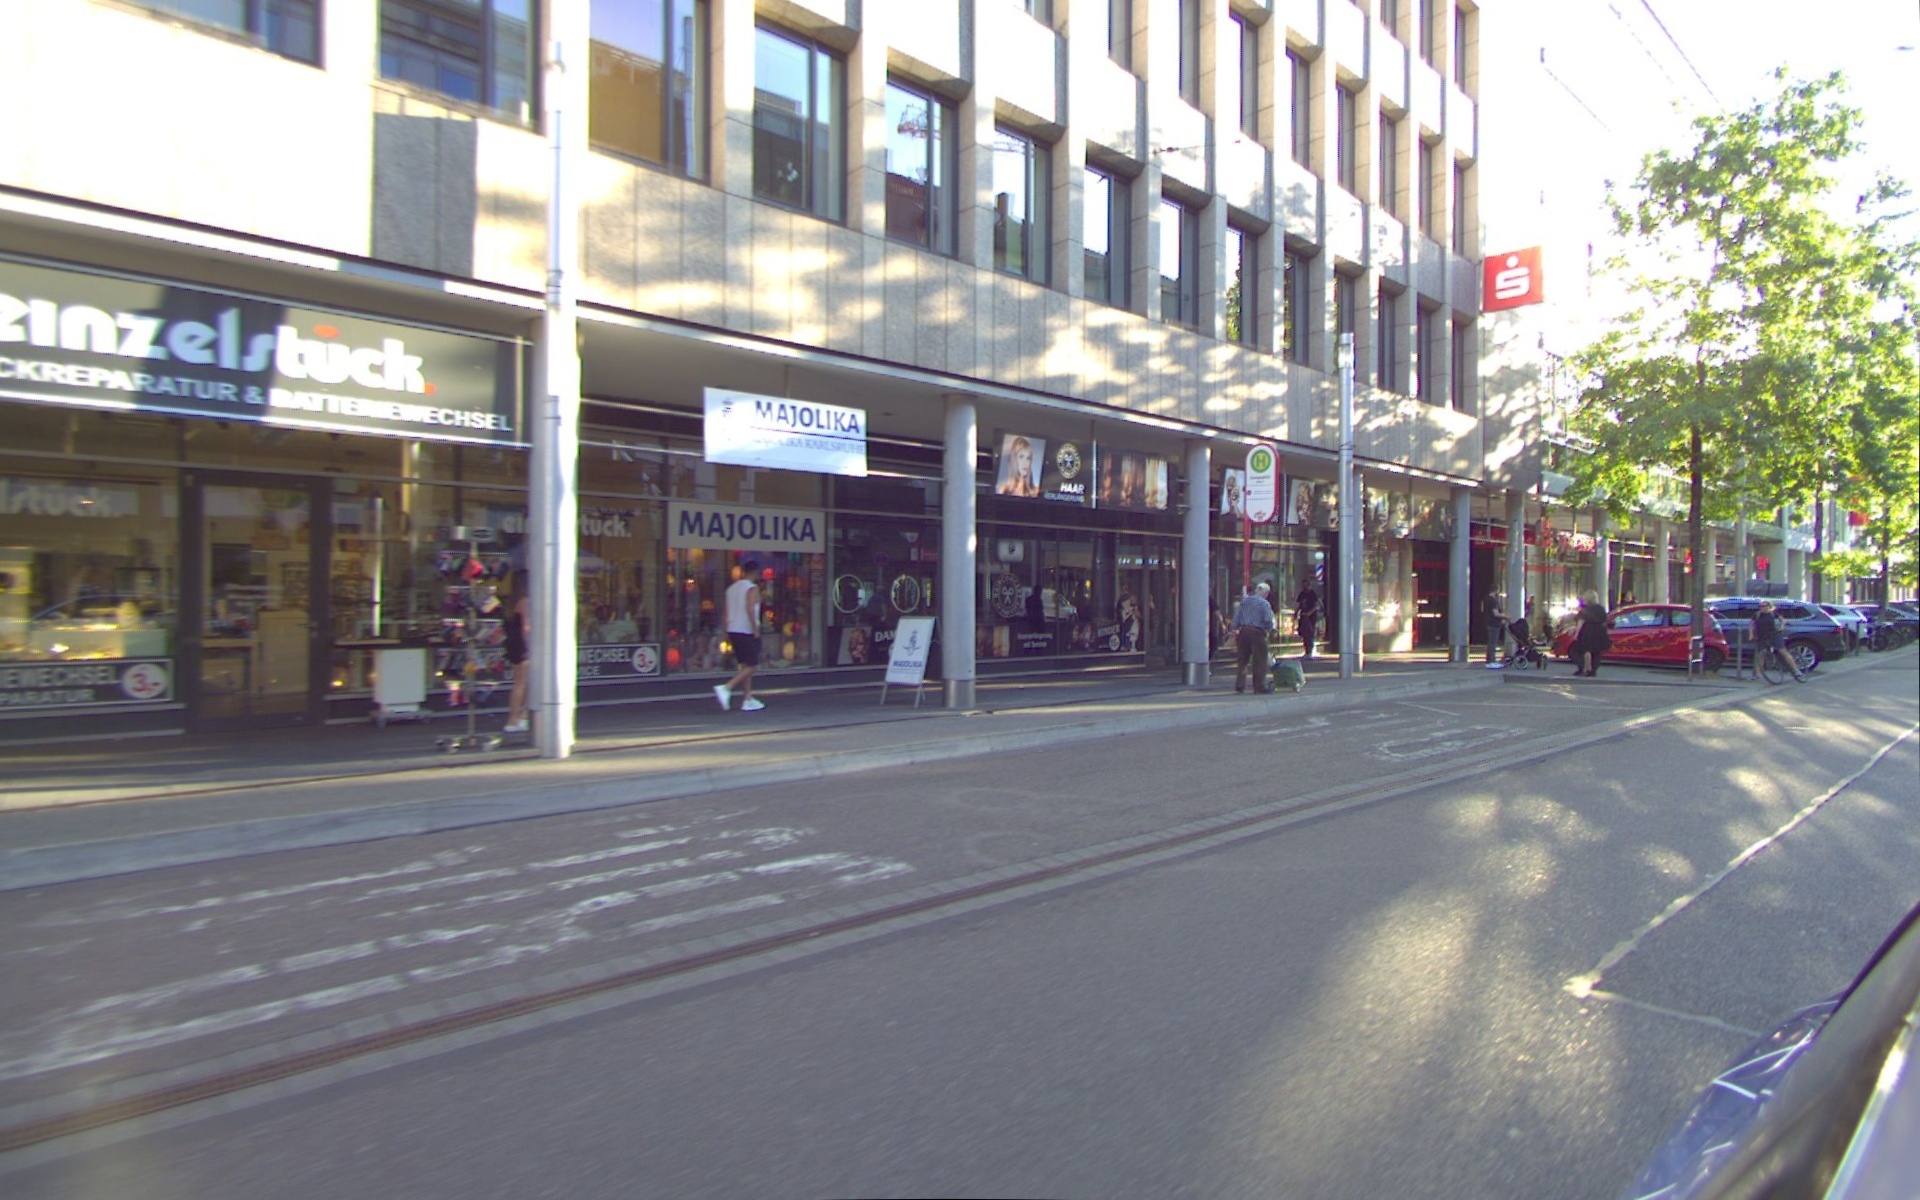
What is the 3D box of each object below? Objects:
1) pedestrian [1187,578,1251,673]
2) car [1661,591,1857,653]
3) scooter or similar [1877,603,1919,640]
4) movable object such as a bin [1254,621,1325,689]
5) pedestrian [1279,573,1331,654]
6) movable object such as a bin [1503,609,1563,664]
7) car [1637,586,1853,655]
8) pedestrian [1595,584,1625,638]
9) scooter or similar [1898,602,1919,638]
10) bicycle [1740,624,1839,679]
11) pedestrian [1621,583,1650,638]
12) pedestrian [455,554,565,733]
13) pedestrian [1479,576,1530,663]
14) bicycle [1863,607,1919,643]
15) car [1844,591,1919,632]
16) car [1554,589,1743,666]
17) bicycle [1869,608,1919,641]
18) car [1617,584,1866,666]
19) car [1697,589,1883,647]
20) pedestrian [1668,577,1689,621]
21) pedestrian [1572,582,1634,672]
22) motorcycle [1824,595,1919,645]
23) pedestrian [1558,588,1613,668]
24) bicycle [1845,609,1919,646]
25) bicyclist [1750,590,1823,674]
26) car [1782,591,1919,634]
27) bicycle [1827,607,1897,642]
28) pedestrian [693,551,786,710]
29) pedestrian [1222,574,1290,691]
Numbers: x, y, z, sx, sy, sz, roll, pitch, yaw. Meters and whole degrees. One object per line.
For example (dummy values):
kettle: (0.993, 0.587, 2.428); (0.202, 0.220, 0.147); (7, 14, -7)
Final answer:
pedestrian: (4.525, 0.429, 17.660); (0.909, 1.609, 0.697); (0, 0, -41)
car: (23.074, 0.583, 29.431); (4.118, 1.517, 1.674); (3, 2, 26)
scooter or similar: (36.098, 0.821, 38.744); (1.290, 1.291, 0.561); (4, 3, 18)
movable object such as a bin: (4.728, 0.771, 14.519); (0.705, 0.936, 0.691); (0, -2, -40)
pedestrian: (7.821, 0.295, 22.958); (0.768, 1.807, 0.846); (1, 0, -40)
movable object such as a bin: (12.000, 0.755, 21.198); (0.818, 1.077, 0.689); (2, 2, 1)
car: (21.394, 0.510, 27.799); (4.194, 1.607, 1.874); (3, 2, 19)
pedestrian: (21.665, 0.374, 33.722); (0.588, 1.765, 0.626); (1, 1, -35)
scooter or similar: (35.576, 0.748, 37.906); (1.284, 1.291, 0.451); (0, 4, -42)
bicycle: (16.383, 0.997, 19.982); (2.016, 1.008, 0.721); (0, -2, -27)
pedestrian: (22.415, 0.344, 33.584); (0.589, 1.765, 0.625); (0, 1, -43)
pedestrian: (-4.585, 0.417, 10.304); (0.842, 1.722, 0.745); (1, -1, -40)
pedestrian: (11.398, 0.394, 21.205); (0.621, 1.753, 0.689); (2, 1, 1)
bicycle: (32.733, 0.878, 35.477); (1.662, 1.177, 0.481); (2, 2, -1)
car: (45.096, 0.594, 47.726); (4.610, 1.785, 1.982); (3, 2, 21)
car: (15.590, 0.563, 23.138); (3.370, 1.499, 1.650); (3, 2, 30)
bicycle: (34.405, 0.902, 36.960); (1.544, 1.102, 0.864); (4, 1, 19)
car: (18.523, 0.540, 24.226); (4.300, 1.672, 1.685); (3, 2, 19)
car: (26.450, 0.544, 32.421); (4.103, 1.590, 1.845); (3, 2, 17)
pedestrian: (29.662, -0.032, 41.786); (0.515, 1.772, 0.558); (0, 2, -41)
pedestrian: (12.523, 0.515, 19.723); (0.682, 1.706, 0.682); (2, 1, -7)
motorcycle: (30.051, 0.654, 33.302); (2.279, 1.528, 0.858); (2, 2, 6)
pedestrian: (12.703, 0.554, 20.563); (0.677, 1.571, 0.607); (2, 1, 3)
bicycle: (31.236, 0.917, 34.168); (1.874, 1.133, 0.663); (3, 2, 21)
bicyclist: (16.402, 0.628, 20.087); (0.894, 1.634, 0.781); (0, -2, -27)
car: (37.556, 0.524, 41.896); (4.986, 1.487, 1.970); (3, 2, 14)
bicycle: (32.367, 0.874, 36.341); (1.676, 1.119, 0.627); (3, 3, 24)
pedestrian: (-2.644, 0.352, 12.124); (0.842, 1.815, 0.745); (1, -1, -40)
pedestrian: (4.187, 0.451, 14.319); (0.621, 1.593, 0.682); (1, -2, -40)
